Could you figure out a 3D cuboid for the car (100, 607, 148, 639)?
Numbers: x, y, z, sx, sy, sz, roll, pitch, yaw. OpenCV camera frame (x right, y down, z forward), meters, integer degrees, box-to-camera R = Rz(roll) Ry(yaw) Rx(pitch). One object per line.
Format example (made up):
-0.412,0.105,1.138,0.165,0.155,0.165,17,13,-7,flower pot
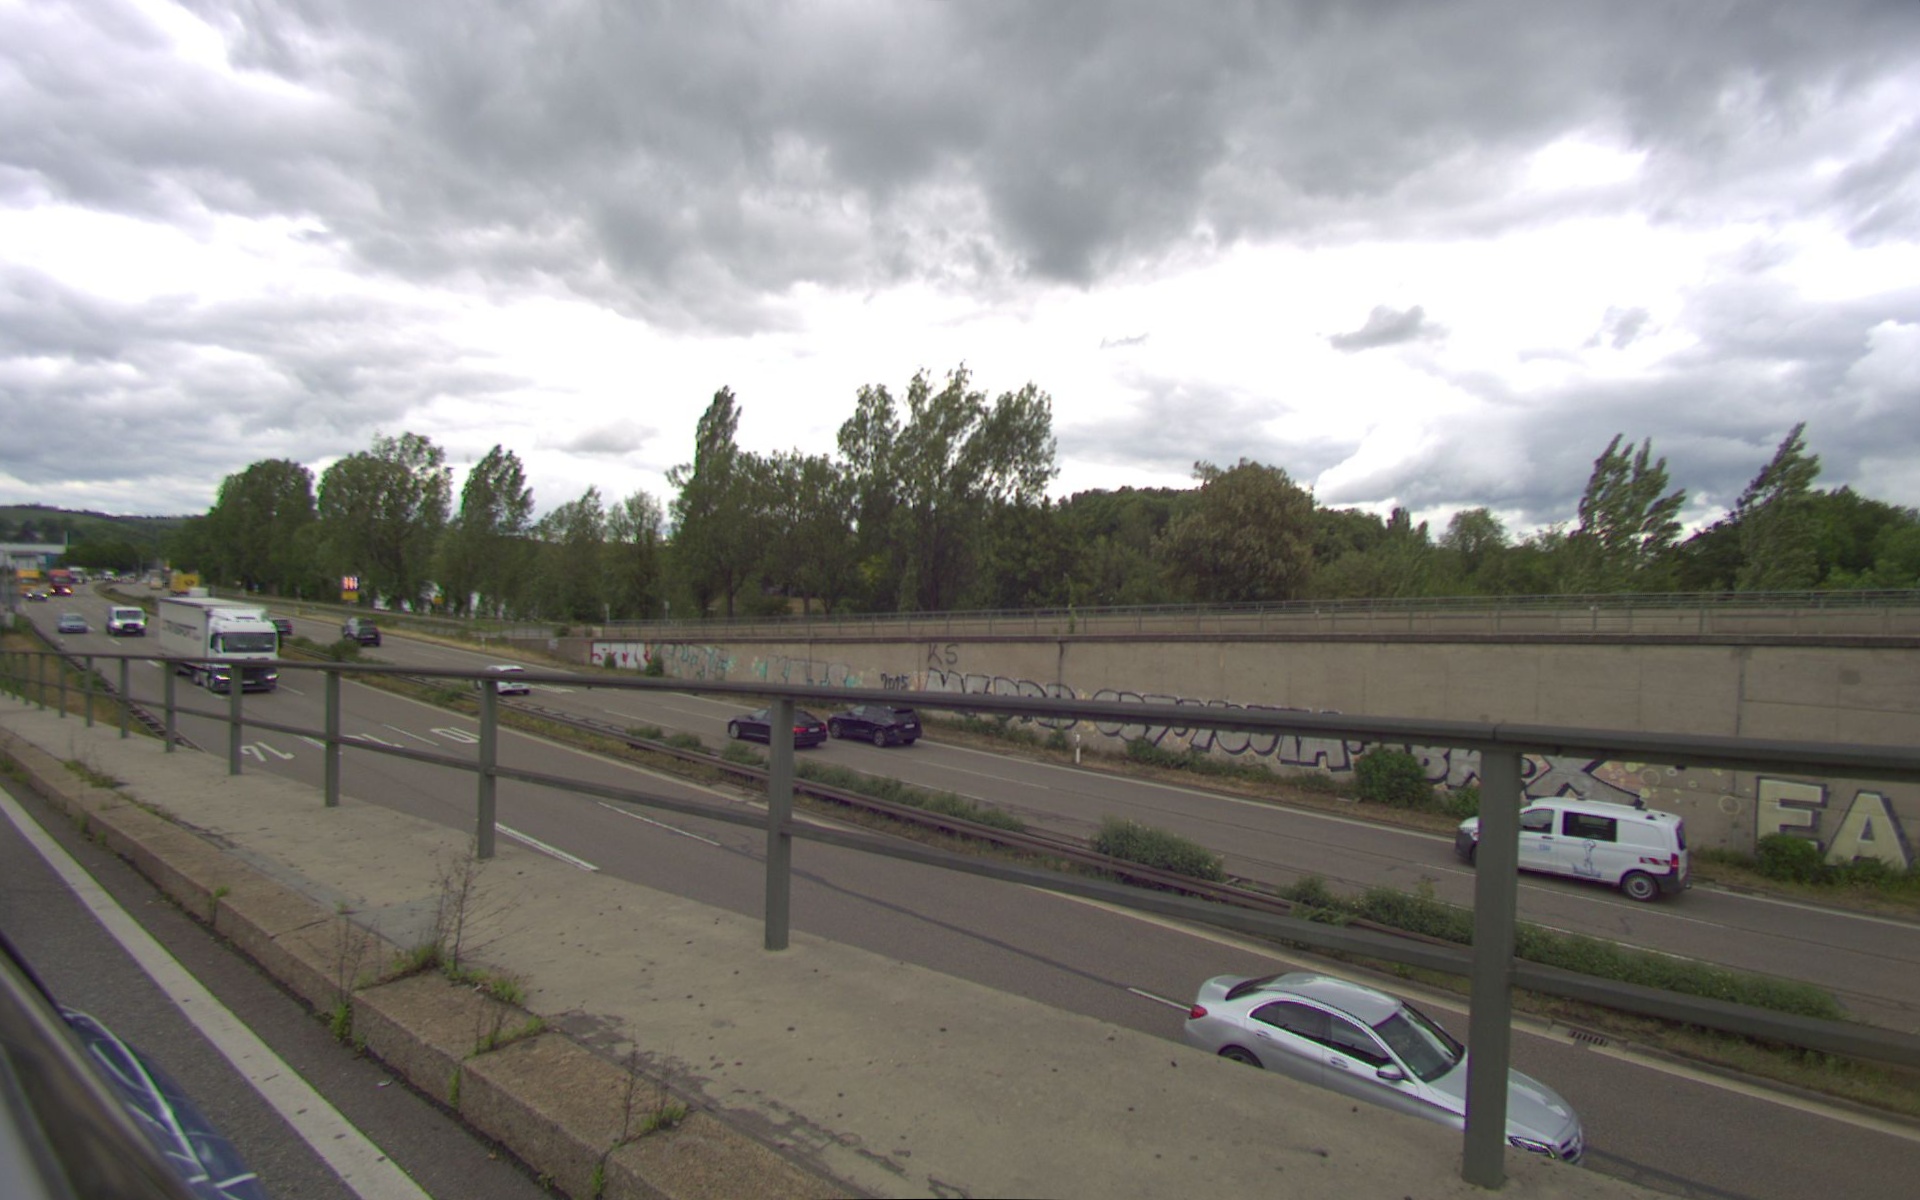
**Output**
-66.437,1.800,80.359,6.502,2.259,2.076,3,0,43,car

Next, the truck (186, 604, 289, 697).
-35.887,2.395,50.206,5.875,4.140,2.970,2,0,43,truck

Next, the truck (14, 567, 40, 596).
-139.573,-2.781,151.331,8.175,4.153,2.382,3,1,44,truck

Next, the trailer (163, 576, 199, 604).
-132.278,-1.794,171.658,3.203,4.294,13.691,2,0,-44,trailer

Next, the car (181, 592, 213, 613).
-101.009,0.298,133.934,6.101,2.613,2.144,2,0,42,car

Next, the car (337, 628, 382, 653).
-46.641,3.118,78.597,4.183,1.731,1.861,2,0,43,car

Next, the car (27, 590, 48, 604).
-122.474,-0.414,134.348,4.002,1.679,1.786,3,1,44,car

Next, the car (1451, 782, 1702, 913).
14.787,5.831,24.468,4.908,1.922,1.927,2,0,41,car

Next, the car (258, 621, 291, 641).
-58.573,2.650,86.417,1.694,1.464,3.653,1,1,-44,car

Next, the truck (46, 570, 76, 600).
-147.052,-2.474,165.458,9.922,4.774,2.717,2,-2,44,truck

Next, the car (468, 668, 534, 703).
-23.877,4.401,52.580,3.899,1.505,1.754,2,-1,44,car

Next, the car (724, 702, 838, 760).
-7.114,5.123,40.023,4.577,1.638,1.973,2,-1,41,car

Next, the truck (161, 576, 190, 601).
-135.804,-1.997,175.239,3.203,4.213,5.808,2,0,-45,truck

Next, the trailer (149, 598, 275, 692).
-40.757,2.212,54.849,13.992,4.140,2.970,2,0,43,trailer

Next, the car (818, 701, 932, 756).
-3.519,5.214,41.507,4.577,1.638,1.973,2,-1,41,car

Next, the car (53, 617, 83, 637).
-70.919,2.137,80.447,3.538,1.383,1.492,3,0,43,car

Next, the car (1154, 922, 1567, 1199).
4.879,5.624,12.748,4.439,1.582,1.830,3,2,43,car
